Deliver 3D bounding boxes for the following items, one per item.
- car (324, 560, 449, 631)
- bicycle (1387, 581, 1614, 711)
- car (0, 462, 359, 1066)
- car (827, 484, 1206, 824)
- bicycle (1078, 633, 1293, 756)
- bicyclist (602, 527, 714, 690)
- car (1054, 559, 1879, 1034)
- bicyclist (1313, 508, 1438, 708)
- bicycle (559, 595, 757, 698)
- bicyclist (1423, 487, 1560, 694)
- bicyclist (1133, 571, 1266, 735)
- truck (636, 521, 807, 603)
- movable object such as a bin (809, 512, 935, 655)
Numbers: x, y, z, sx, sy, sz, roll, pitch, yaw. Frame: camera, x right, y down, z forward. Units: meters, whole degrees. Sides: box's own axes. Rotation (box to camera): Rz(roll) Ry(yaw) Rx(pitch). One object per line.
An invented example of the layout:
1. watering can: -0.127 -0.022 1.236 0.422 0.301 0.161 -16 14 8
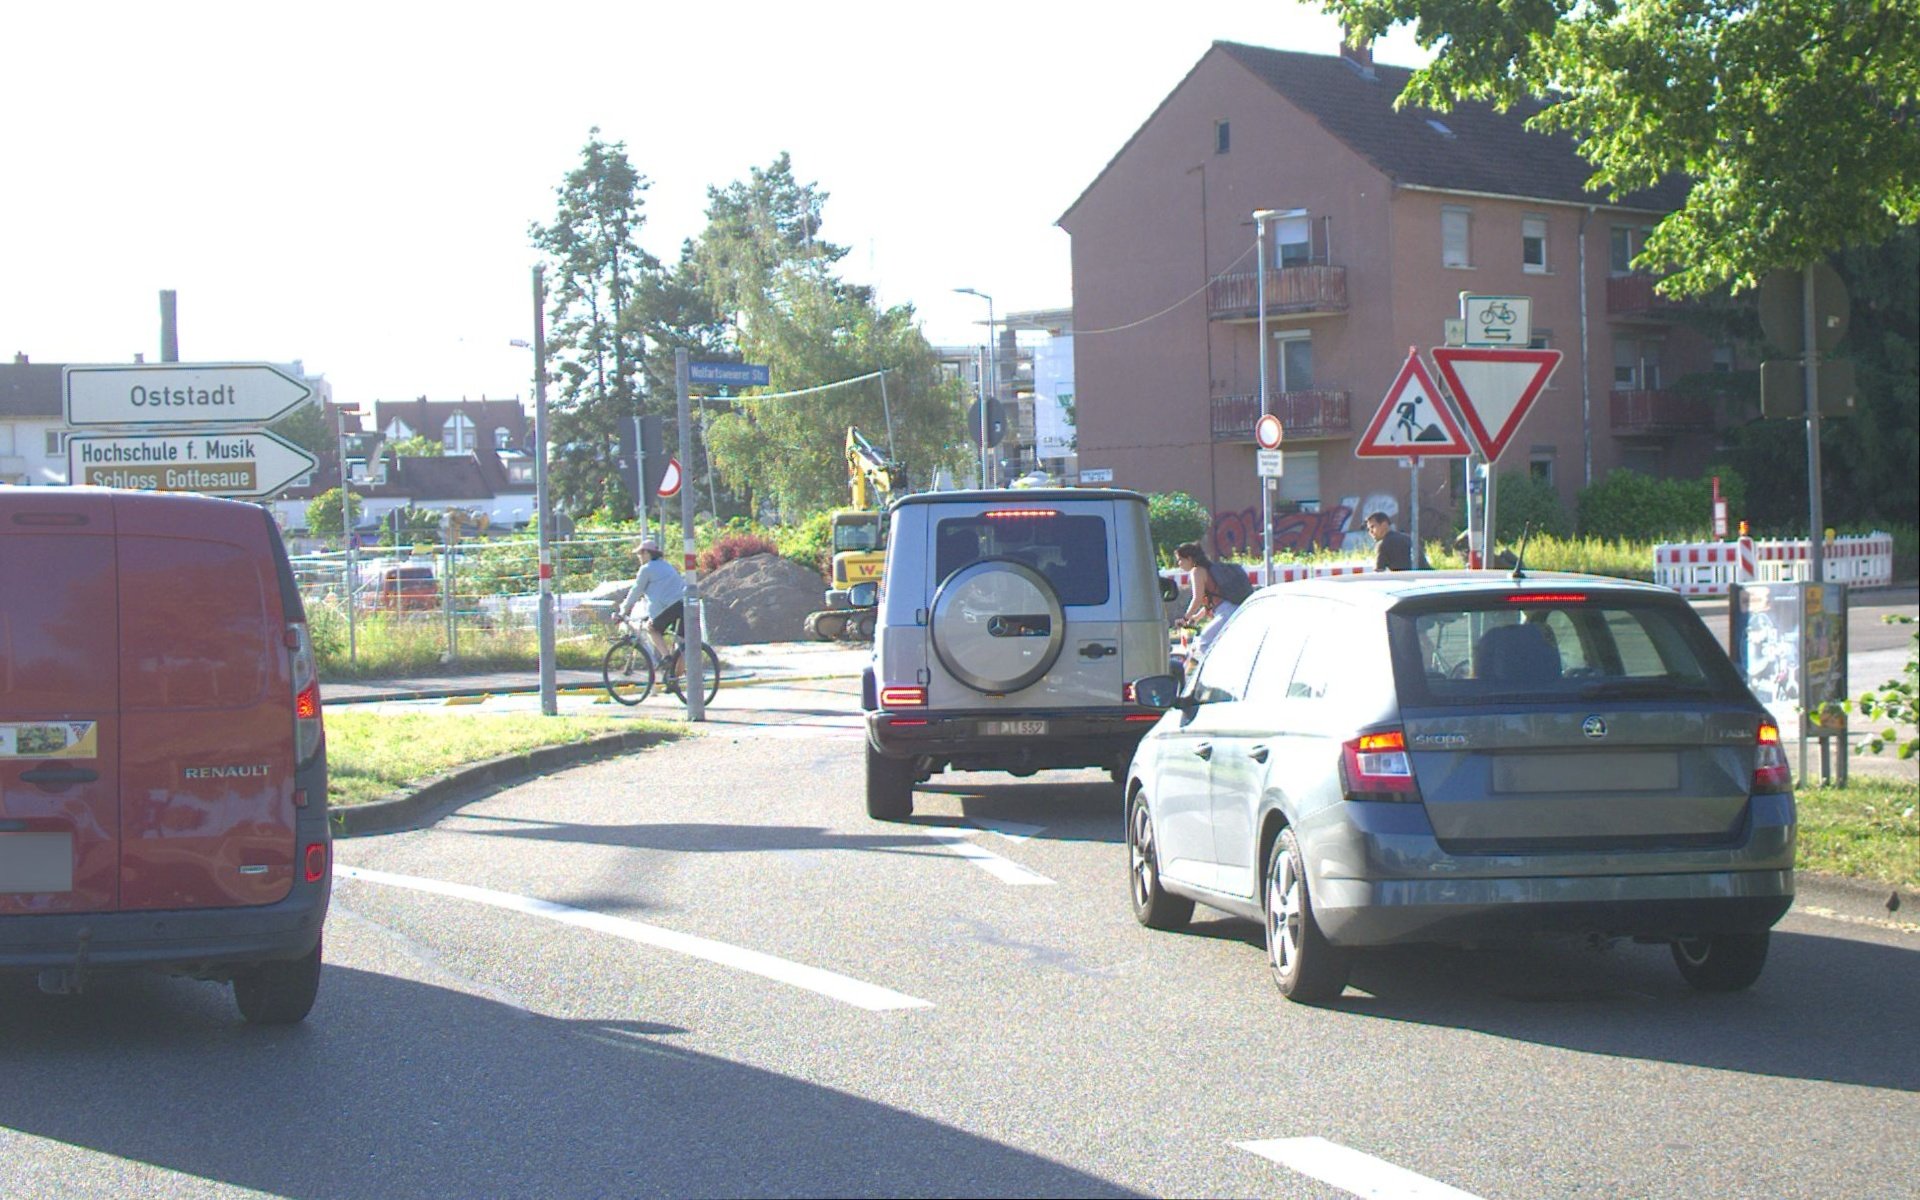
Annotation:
1. car: -16.808 -0.142 100.605 1.993 2.007 4.499 0 0 -33
2. bicycle: 4.395 0.362 28.053 0.658 1.024 1.823 0 0 -42
3. car: -3.481 0.480 12.139 1.802 1.807 3.810 -1 1 -23
4. car: 0.231 0.285 21.832 1.996 1.890 4.753 -1 0 -4
5. bicycle: 1.939 0.800 29.736 1.822 1.024 0.659 0 0 41
6. bicyclist: -3.215 0.082 36.592 0.853 1.675 0.741 0 3 30
7. car: 1.656 0.592 12.761 1.713 1.431 4.153 -1 0 -11
8. bicyclist: 3.656 0.071 30.268 0.653 1.724 0.812 -1 0 -43
9. bicycle: -3.226 0.488 36.641 2.007 1.024 0.741 0 3 30
10. bicyclist: 4.345 -0.076 28.108 0.658 1.659 0.899 0 0 -42
11. bicyclist: 2.063 0.446 29.640 0.934 1.380 0.659 0 0 40
12. truck: -6.172 -0.955 88.160 2.164 2.007 6.437 0 0 -26
13. movable object such as a bin: -1.792 -0.329 68.807 2.419 2.764 4.000 0 0 -3
